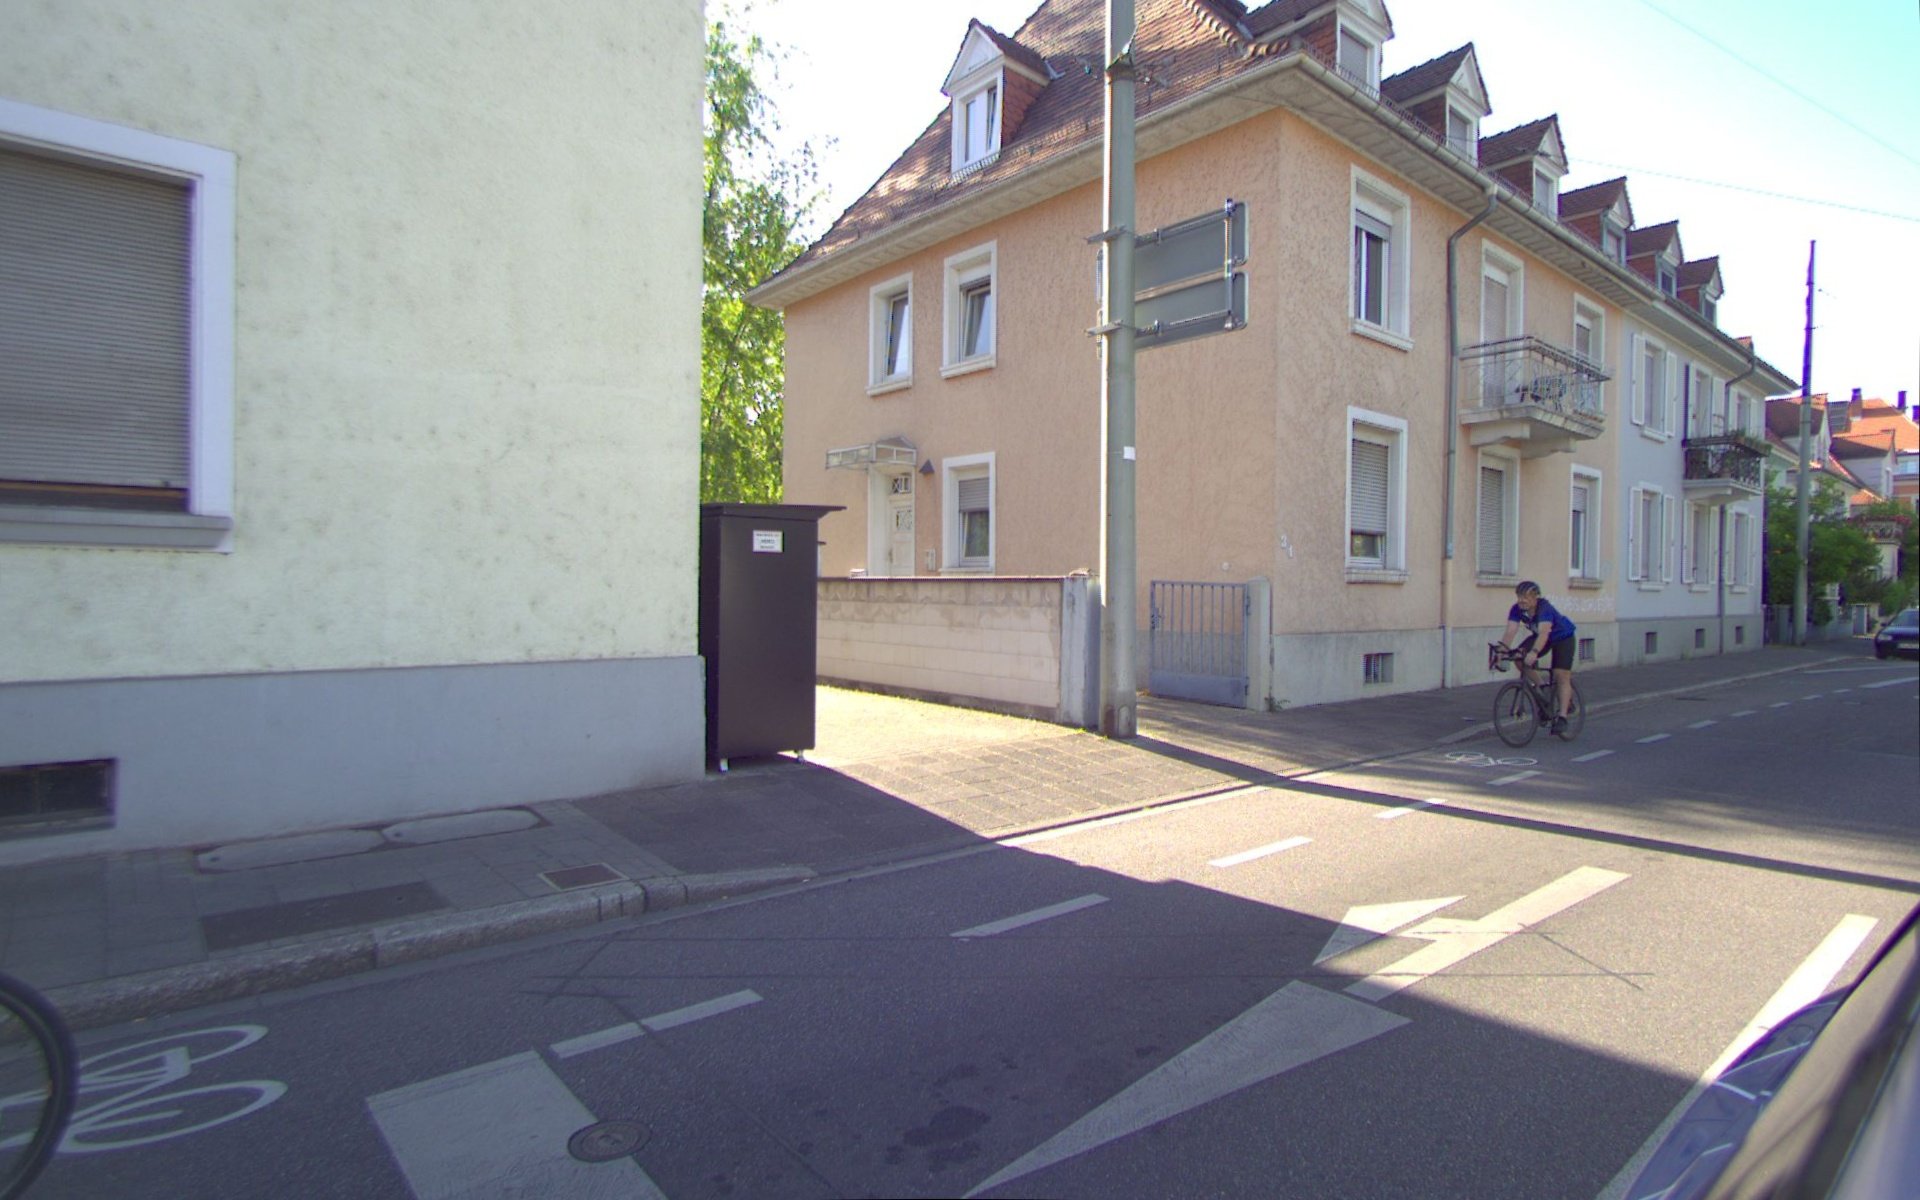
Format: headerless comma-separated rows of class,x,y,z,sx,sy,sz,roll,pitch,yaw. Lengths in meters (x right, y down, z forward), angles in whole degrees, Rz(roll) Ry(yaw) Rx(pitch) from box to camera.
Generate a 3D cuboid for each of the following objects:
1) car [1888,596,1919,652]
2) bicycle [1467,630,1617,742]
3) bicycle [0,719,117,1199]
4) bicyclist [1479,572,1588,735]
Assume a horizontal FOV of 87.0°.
car,26.713,0.633,27.401,4.347,1.425,1.866,0,1,-41
bicycle,6.201,0.883,10.763,1.759,1.076,0.551,0,-3,-31
bicycle,-2.639,0.825,1.813,1.727,1.029,0.533,0,1,-41
bicyclist,6.054,0.534,10.686,0.996,1.637,0.563,0,1,-31
